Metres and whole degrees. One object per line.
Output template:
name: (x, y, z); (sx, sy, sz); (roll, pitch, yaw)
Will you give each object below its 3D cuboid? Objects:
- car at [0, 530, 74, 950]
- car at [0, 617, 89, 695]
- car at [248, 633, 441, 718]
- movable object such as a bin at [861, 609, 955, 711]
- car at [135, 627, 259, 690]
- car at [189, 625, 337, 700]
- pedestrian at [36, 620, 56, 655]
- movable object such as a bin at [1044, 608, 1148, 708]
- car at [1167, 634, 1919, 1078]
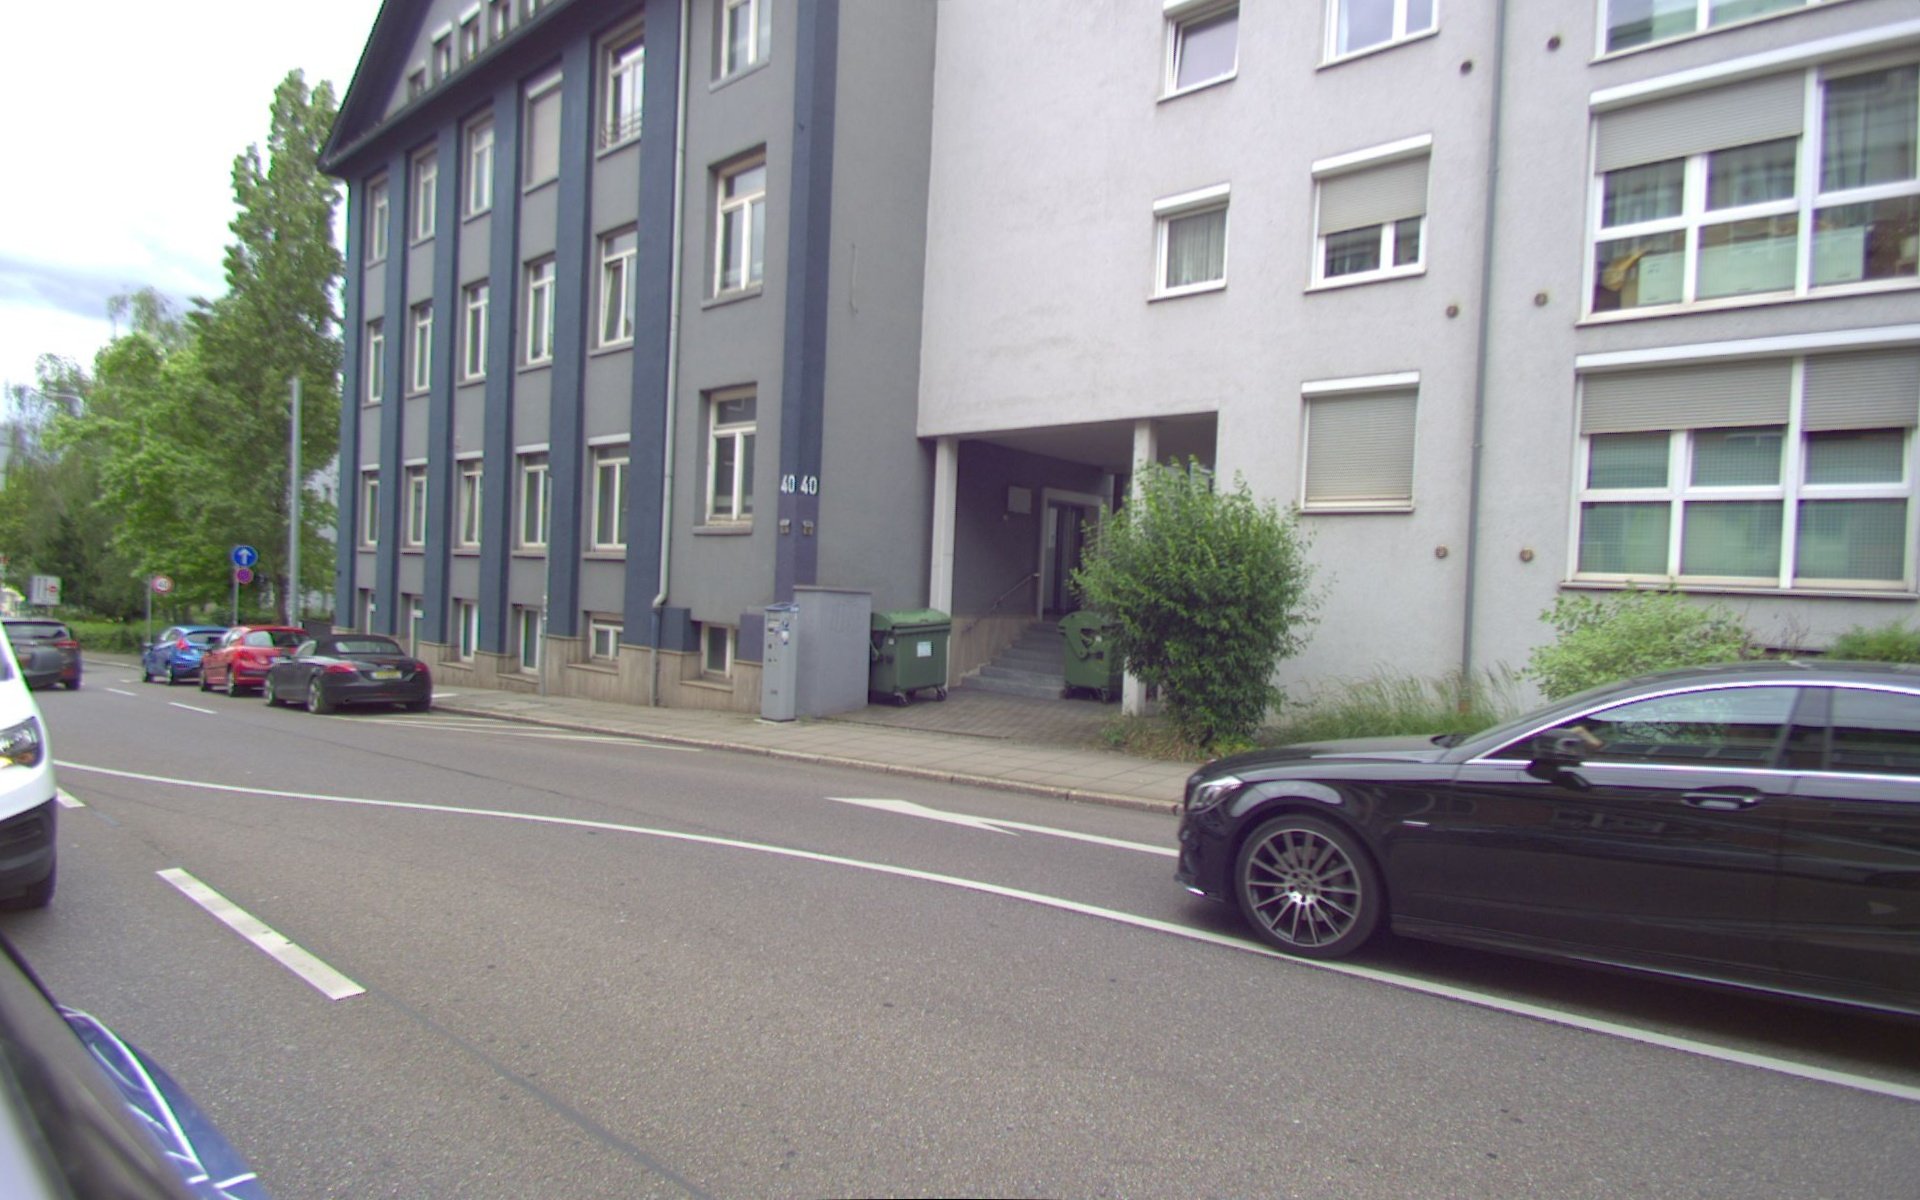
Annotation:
car: (-6.456, 0.656, 5.532); (4.937, 1.821, 1.816); (-1, 0, 42)
car: (-20.815, 1.204, 22.389); (3.933, 1.599, 1.686); (-1, -4, 40)
car: (-11.055, 1.300, 18.078); (4.038, 1.337, 1.702); (-1, -4, 40)
movable object such as a bin: (-0.797, 0.899, 15.703); (0.784, 1.467, 1.251); (0, 1, 44)
car: (-19.409, 1.444, 25.702); (3.724, 1.465, 1.702); (-1, -3, 40)
car: (-15.283, 1.337, 22.121); (3.868, 1.485, 1.796); (-2, -4, 42)
pedestrian: (-48.673, 1.982, 53.891); (0.776, 1.864, 0.736); (-2, -1, 42)
movable object such as a bin: (2.241, 0.922, 16.648); (1.190, 1.489, 1.132); (5, 2, 41)
car: (3.395, 0.899, 4.247); (4.663, 1.429, 1.768); (-1, -4, 38)
